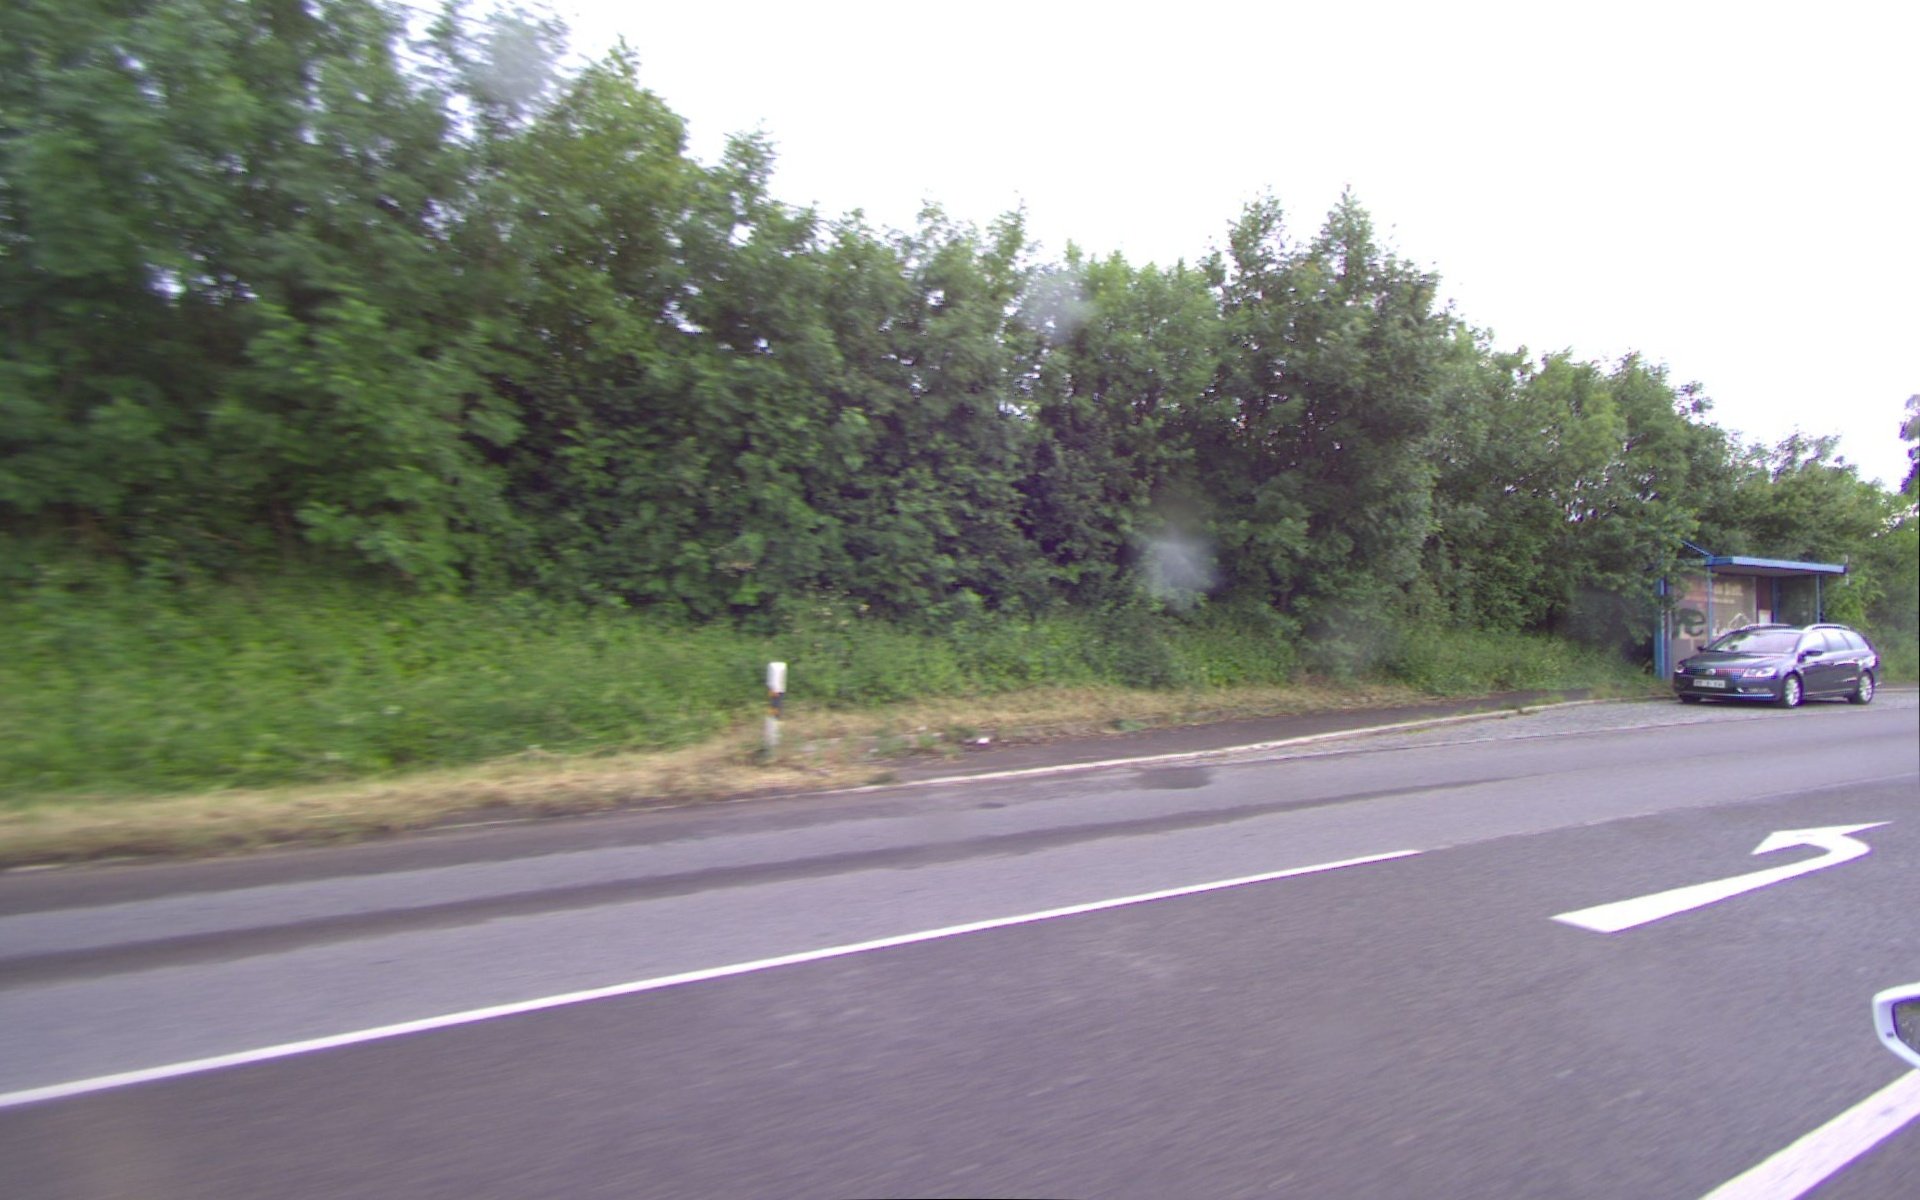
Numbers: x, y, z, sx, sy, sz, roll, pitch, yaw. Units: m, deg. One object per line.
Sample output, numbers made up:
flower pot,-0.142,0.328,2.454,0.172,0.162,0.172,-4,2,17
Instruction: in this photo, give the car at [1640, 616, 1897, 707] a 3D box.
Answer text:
car,15.348,1.166,19.054,4.638,1.493,1.987,3,0,-26
